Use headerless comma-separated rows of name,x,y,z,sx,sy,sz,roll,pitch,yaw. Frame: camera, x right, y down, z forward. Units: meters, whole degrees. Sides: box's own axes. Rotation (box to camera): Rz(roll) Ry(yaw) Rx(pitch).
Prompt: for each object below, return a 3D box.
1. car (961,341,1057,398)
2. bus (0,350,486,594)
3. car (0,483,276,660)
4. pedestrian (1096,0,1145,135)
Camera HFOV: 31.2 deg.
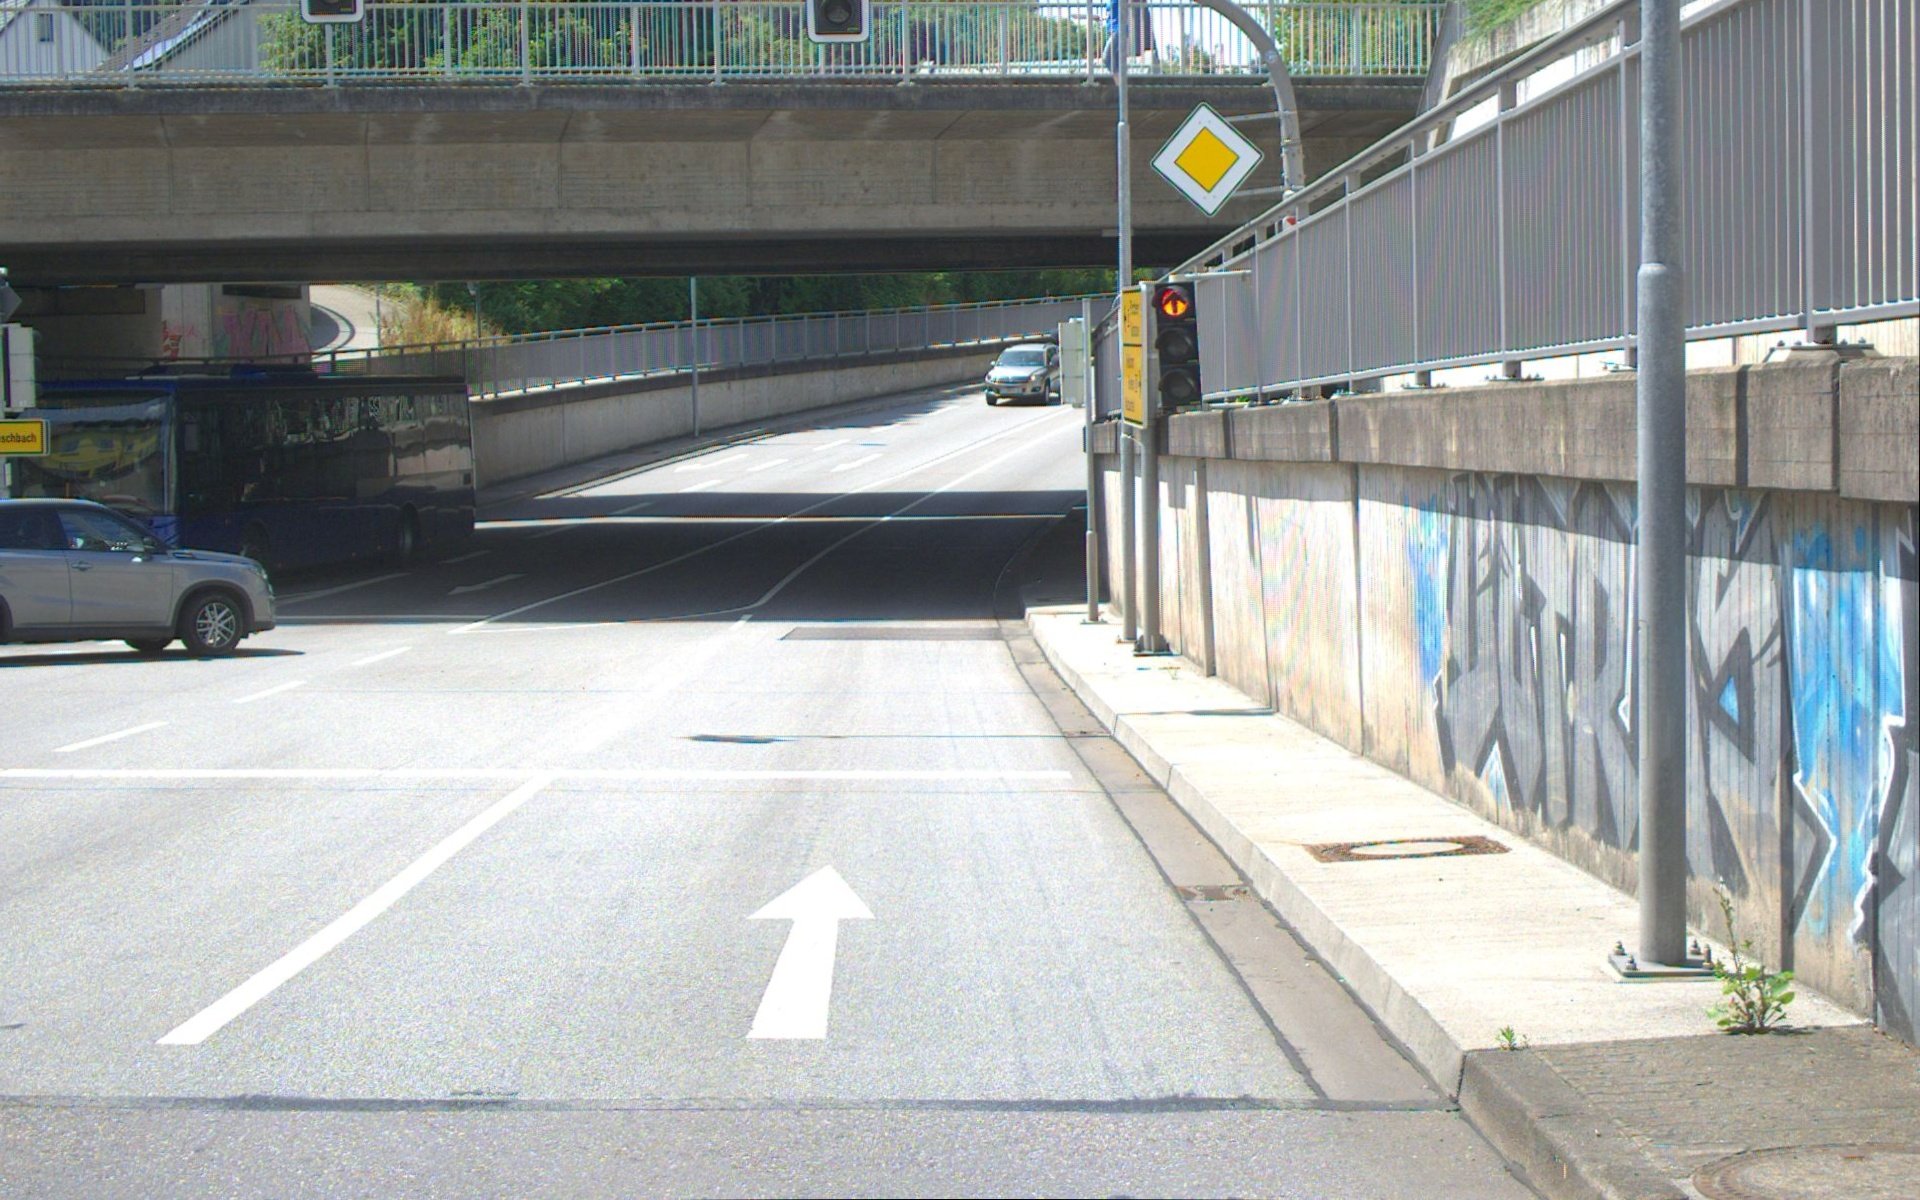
car,1.455,-6.752,100.783,1.995,1.621,3.998,1,4,14
bus,-10.227,-2.070,51.022,2.582,3.161,12.374,1,4,10
car,-9.004,-0.305,34.046,3.987,1.612,1.810,-2,4,-33
pedestrian,2.151,-7.301,46.071,0.539,2.074,0.535,-1,2,-7
